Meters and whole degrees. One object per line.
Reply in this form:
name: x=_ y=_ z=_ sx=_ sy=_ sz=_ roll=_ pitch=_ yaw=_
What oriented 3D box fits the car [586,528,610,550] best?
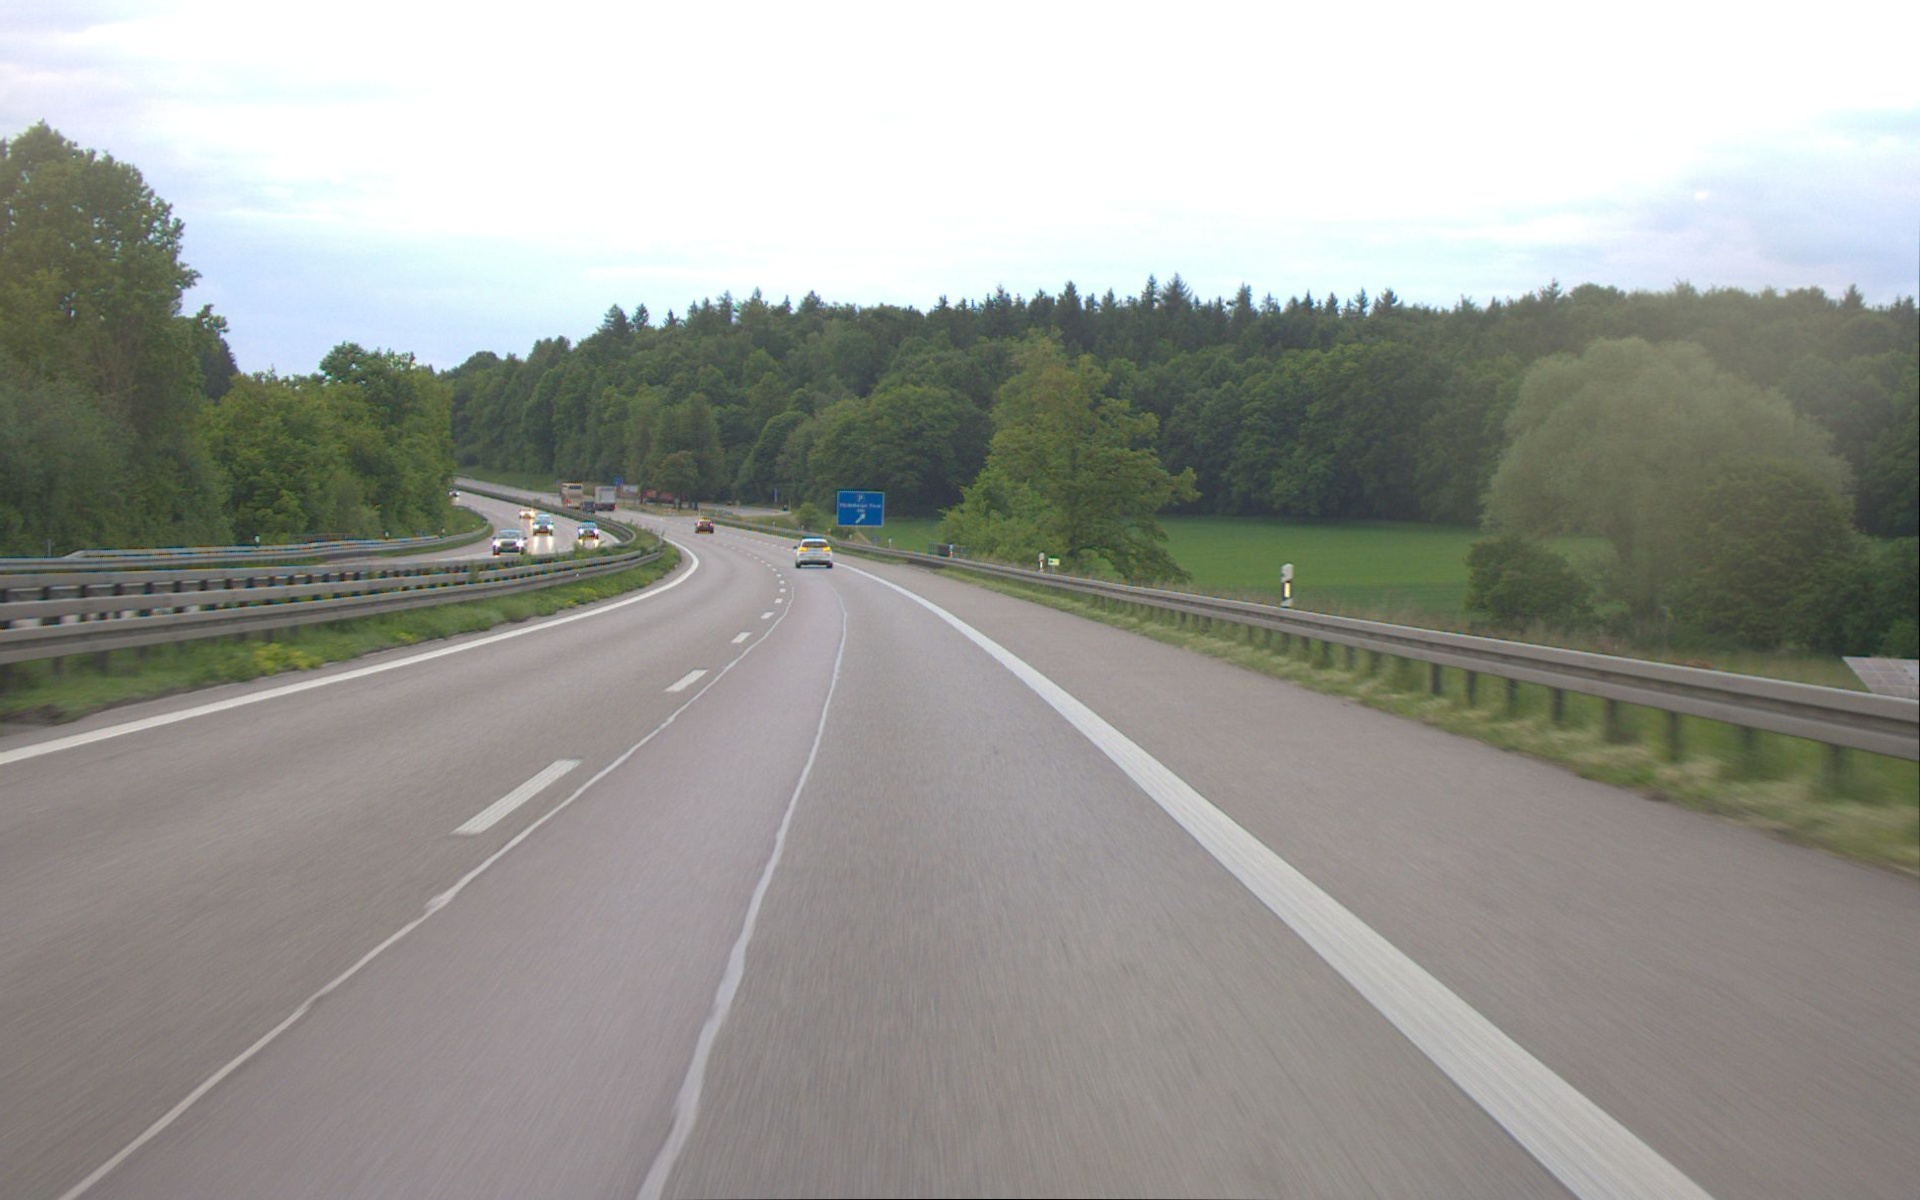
car: x=-15.936 y=-2.680 z=151.381 sx=0.888 sy=0.875 sz=1.764 roll=3 pitch=2 yaw=-2

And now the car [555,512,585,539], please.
car: x=-14.817 y=-2.818 z=130.603 sx=0.887 sy=0.965 sz=1.764 roll=3 pitch=2 yaw=0

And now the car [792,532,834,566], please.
car: x=-7.307 y=-2.568 z=171.014 sx=1.951 sy=1.526 sz=4.081 roll=3 pitch=2 yaw=-1

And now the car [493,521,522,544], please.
car: x=-26.850 y=-4.010 z=204.077 sx=1.383 sy=1.269 sz=2.749 roll=3 pitch=2 yaw=-2

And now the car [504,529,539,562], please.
car: x=-13.320 y=-1.673 z=104.474 sx=0.841 sy=0.936 sz=1.764 roll=3 pitch=2 yaw=-2
